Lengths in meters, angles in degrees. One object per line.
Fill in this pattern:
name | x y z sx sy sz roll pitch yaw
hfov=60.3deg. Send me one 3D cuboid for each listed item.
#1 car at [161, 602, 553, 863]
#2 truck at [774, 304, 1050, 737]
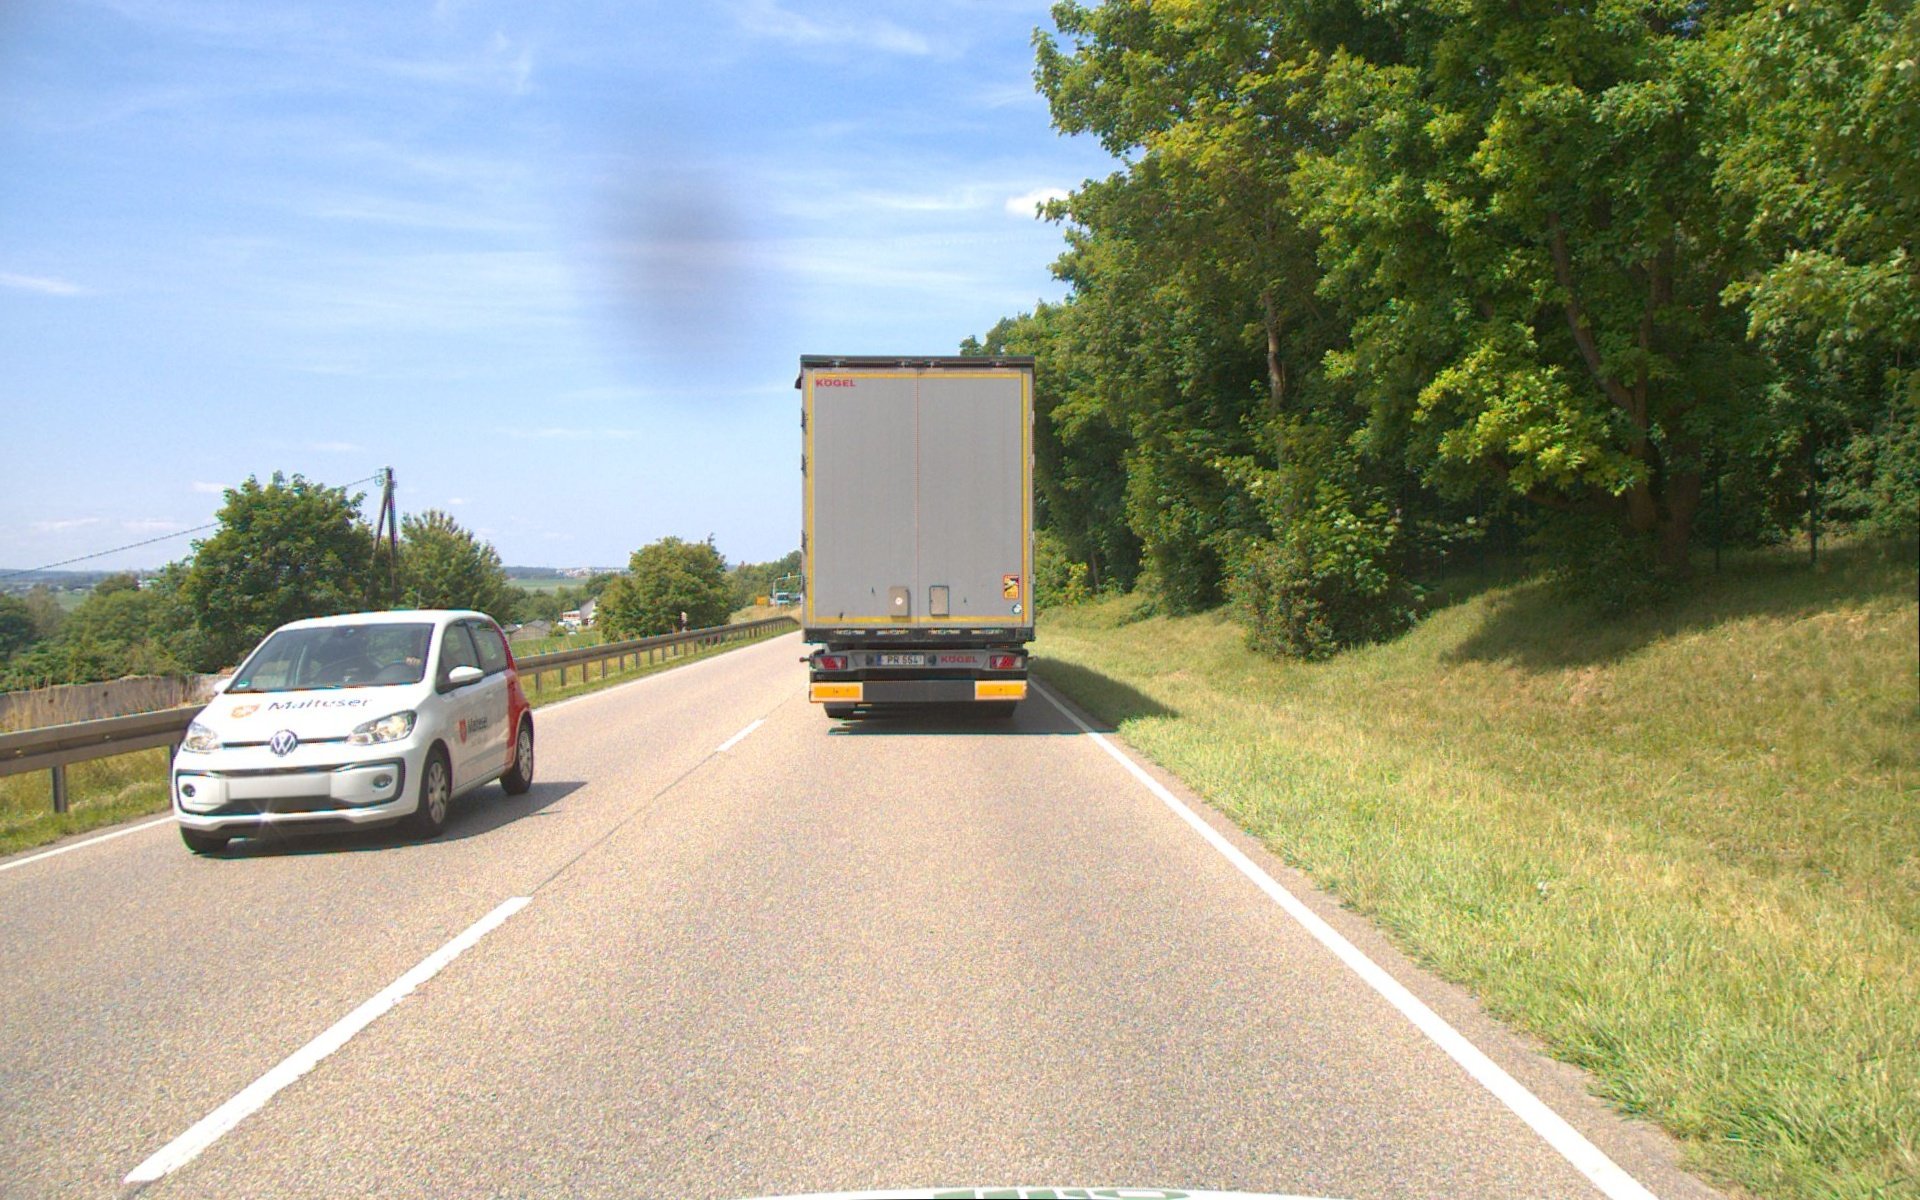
car | -4.147 0.816 11.960 1.526 1.488 3.548 -4 0 -2
truck | -0.653 -0.829 21.625 2.848 4.487 8.856 0 0 -2
